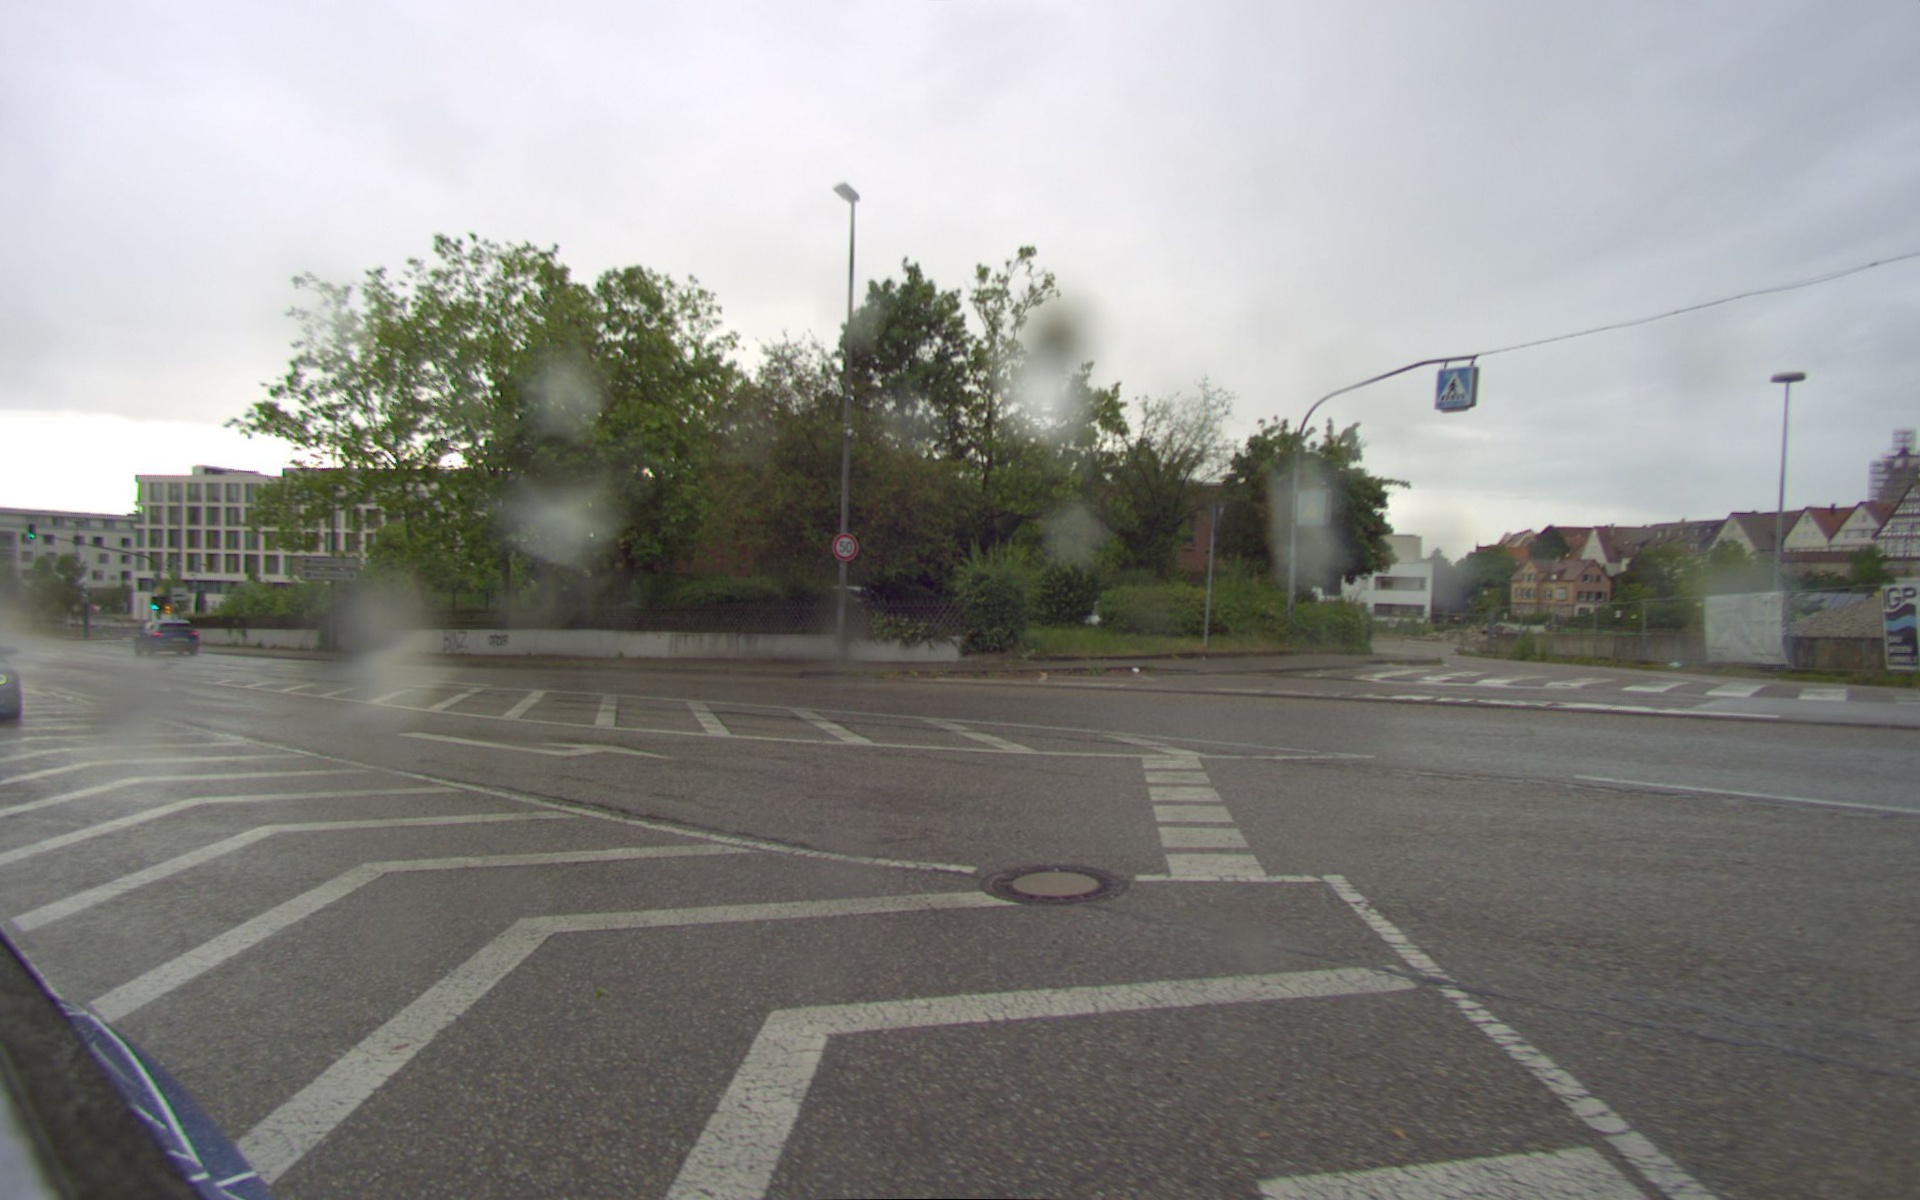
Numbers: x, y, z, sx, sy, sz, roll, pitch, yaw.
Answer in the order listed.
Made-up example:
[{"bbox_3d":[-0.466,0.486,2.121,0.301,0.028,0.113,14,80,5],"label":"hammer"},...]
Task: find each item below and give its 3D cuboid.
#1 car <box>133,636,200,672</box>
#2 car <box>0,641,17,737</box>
[{"bbox_3d":[-36.558,2.460,46.607,3.999,1.526,1.794,-2,-2,42],"label":"car"},{"bbox_3d":[-16.386,1.353,15.987,4.943,1.357,1.766,-1,-1,42],"label":"car"}]
